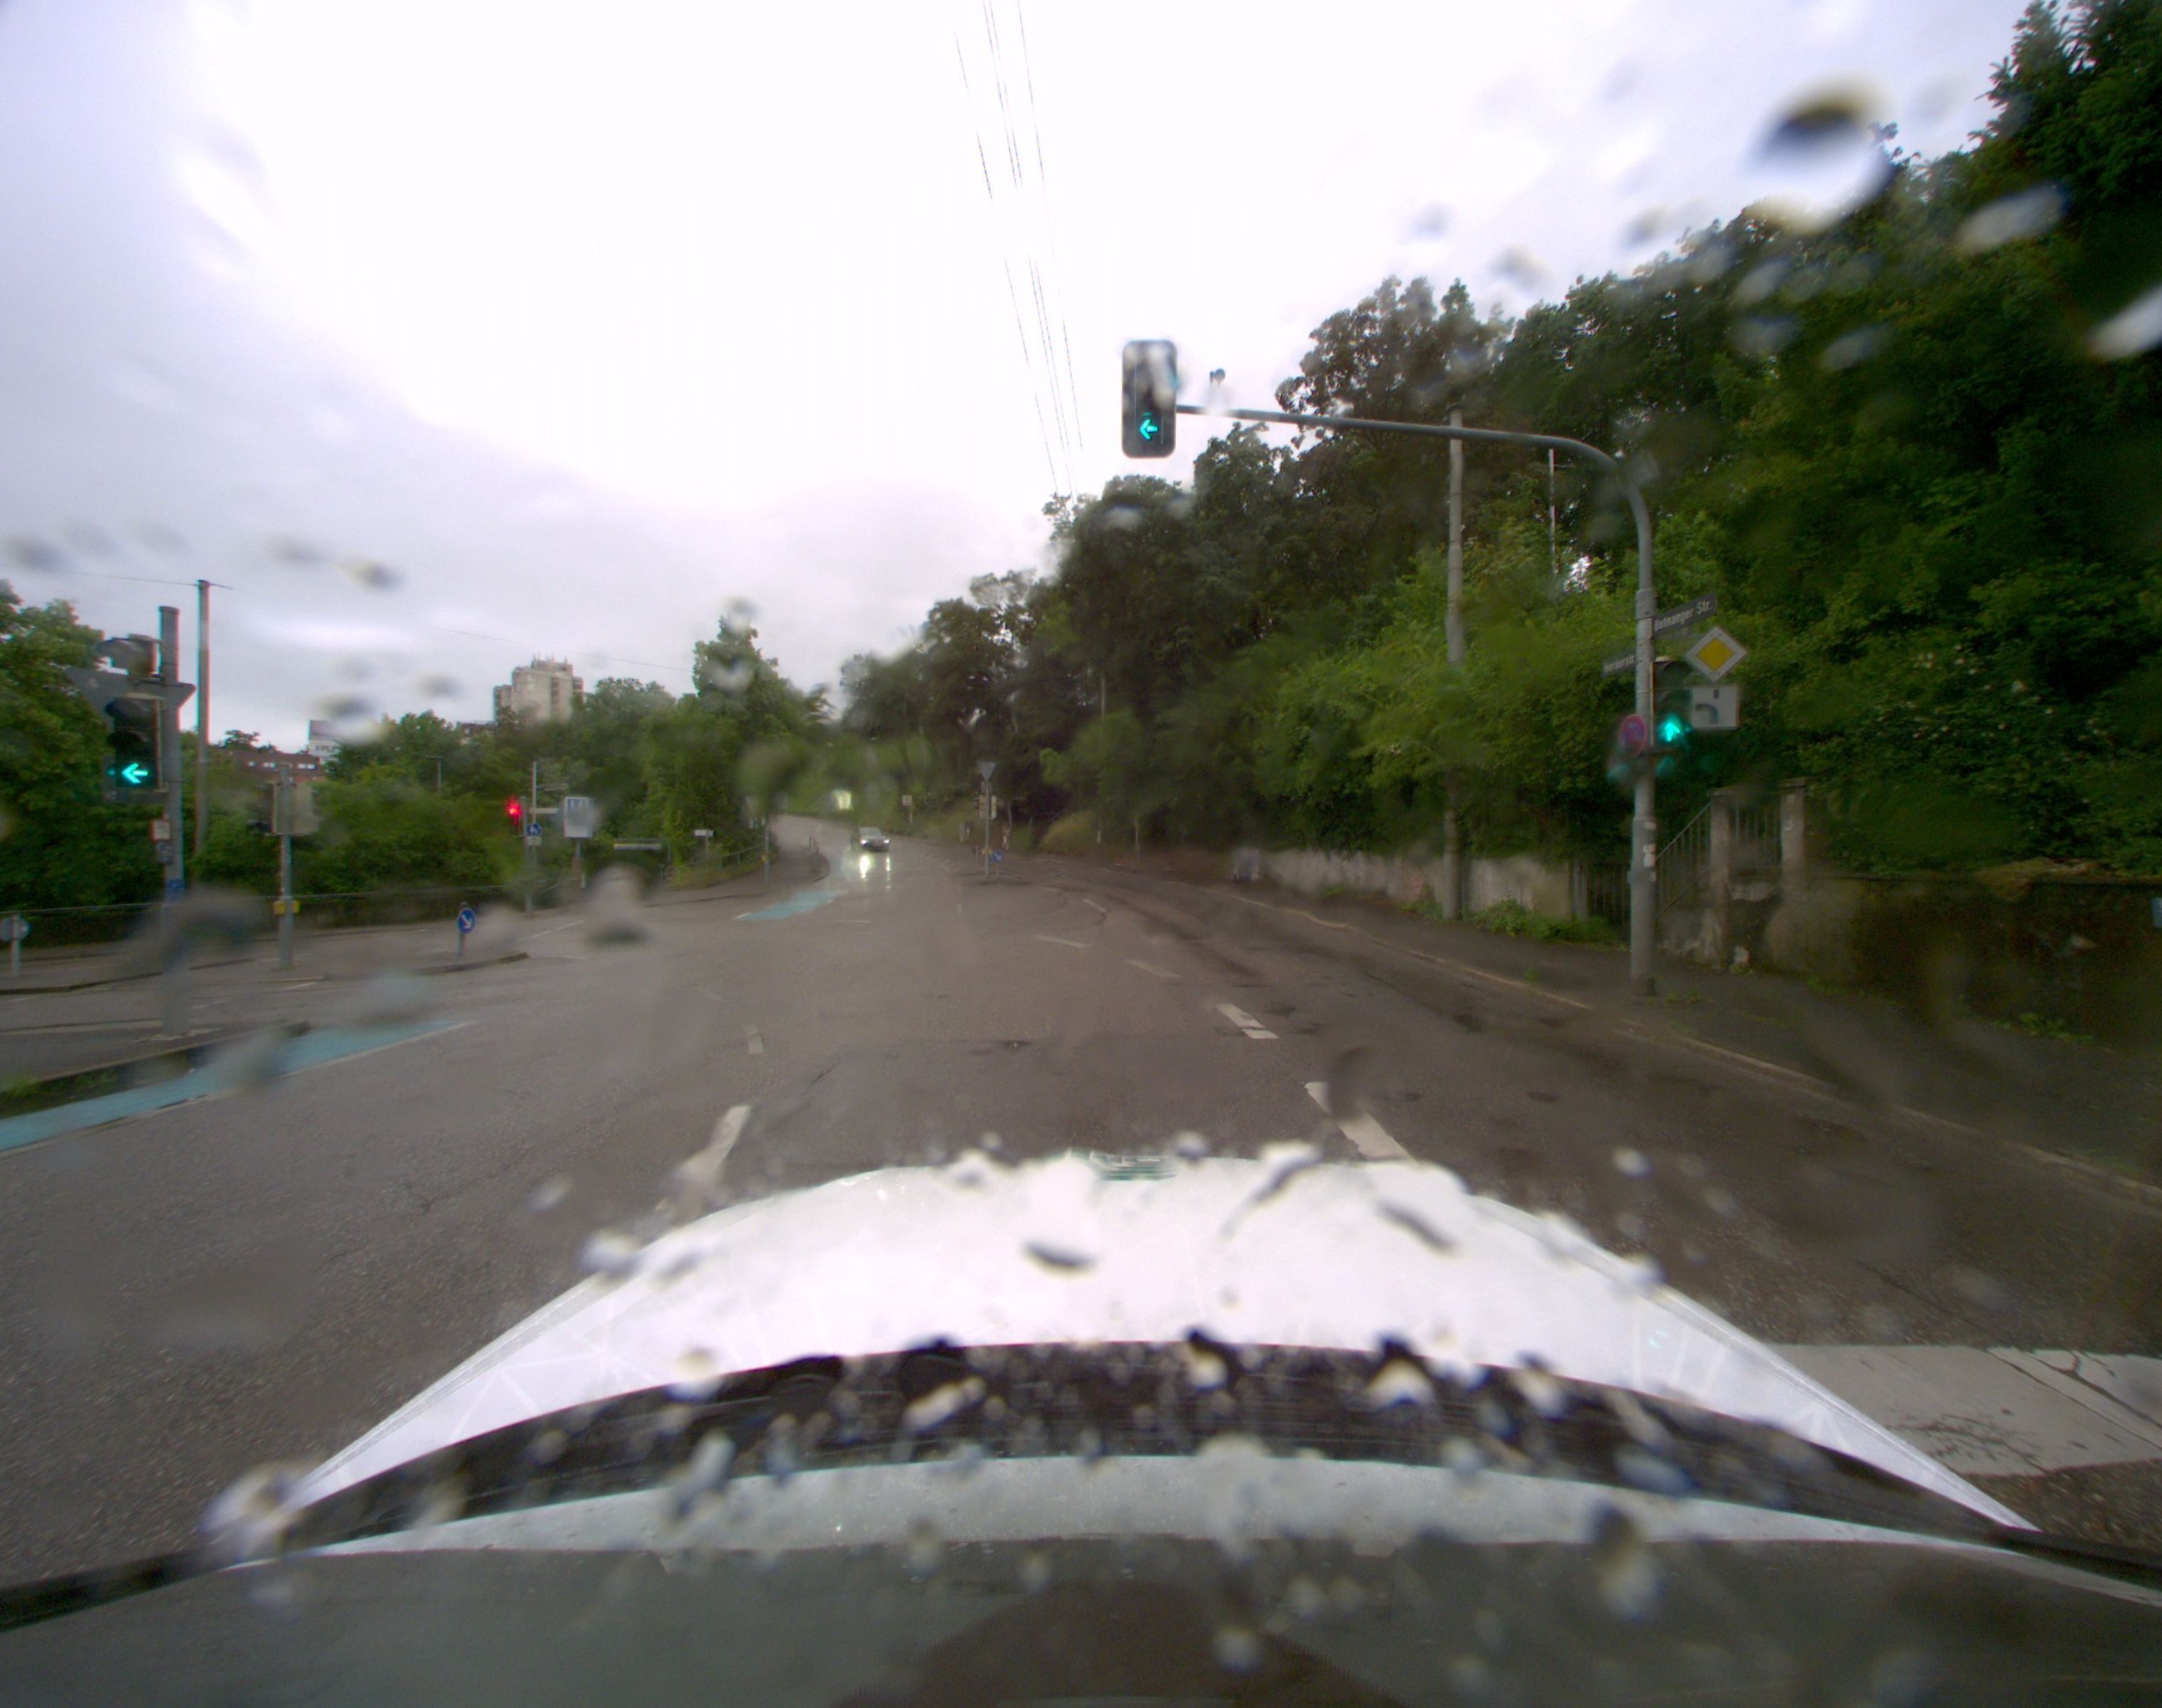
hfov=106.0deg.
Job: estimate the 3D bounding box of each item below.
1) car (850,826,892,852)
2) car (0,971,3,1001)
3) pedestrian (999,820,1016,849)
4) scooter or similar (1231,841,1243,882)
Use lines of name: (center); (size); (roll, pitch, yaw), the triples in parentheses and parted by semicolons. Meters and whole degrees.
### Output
car: (-13.187, -0.978, 50.973); (1.964, 1.511, 4.373); (0, 2, -22)
car: (-17.746, 1.504, 10.769); (4.454, 1.507, 1.983); (-3, 2, 4)
pedestrian: (-4.406, -1.157, 48.569); (0.882, 1.736, 0.861); (0, -2, -15)
scooter or similar: (5.025, 0.242, 26.237); (0.320, 1.279, 0.754); (-1, 2, 10)
